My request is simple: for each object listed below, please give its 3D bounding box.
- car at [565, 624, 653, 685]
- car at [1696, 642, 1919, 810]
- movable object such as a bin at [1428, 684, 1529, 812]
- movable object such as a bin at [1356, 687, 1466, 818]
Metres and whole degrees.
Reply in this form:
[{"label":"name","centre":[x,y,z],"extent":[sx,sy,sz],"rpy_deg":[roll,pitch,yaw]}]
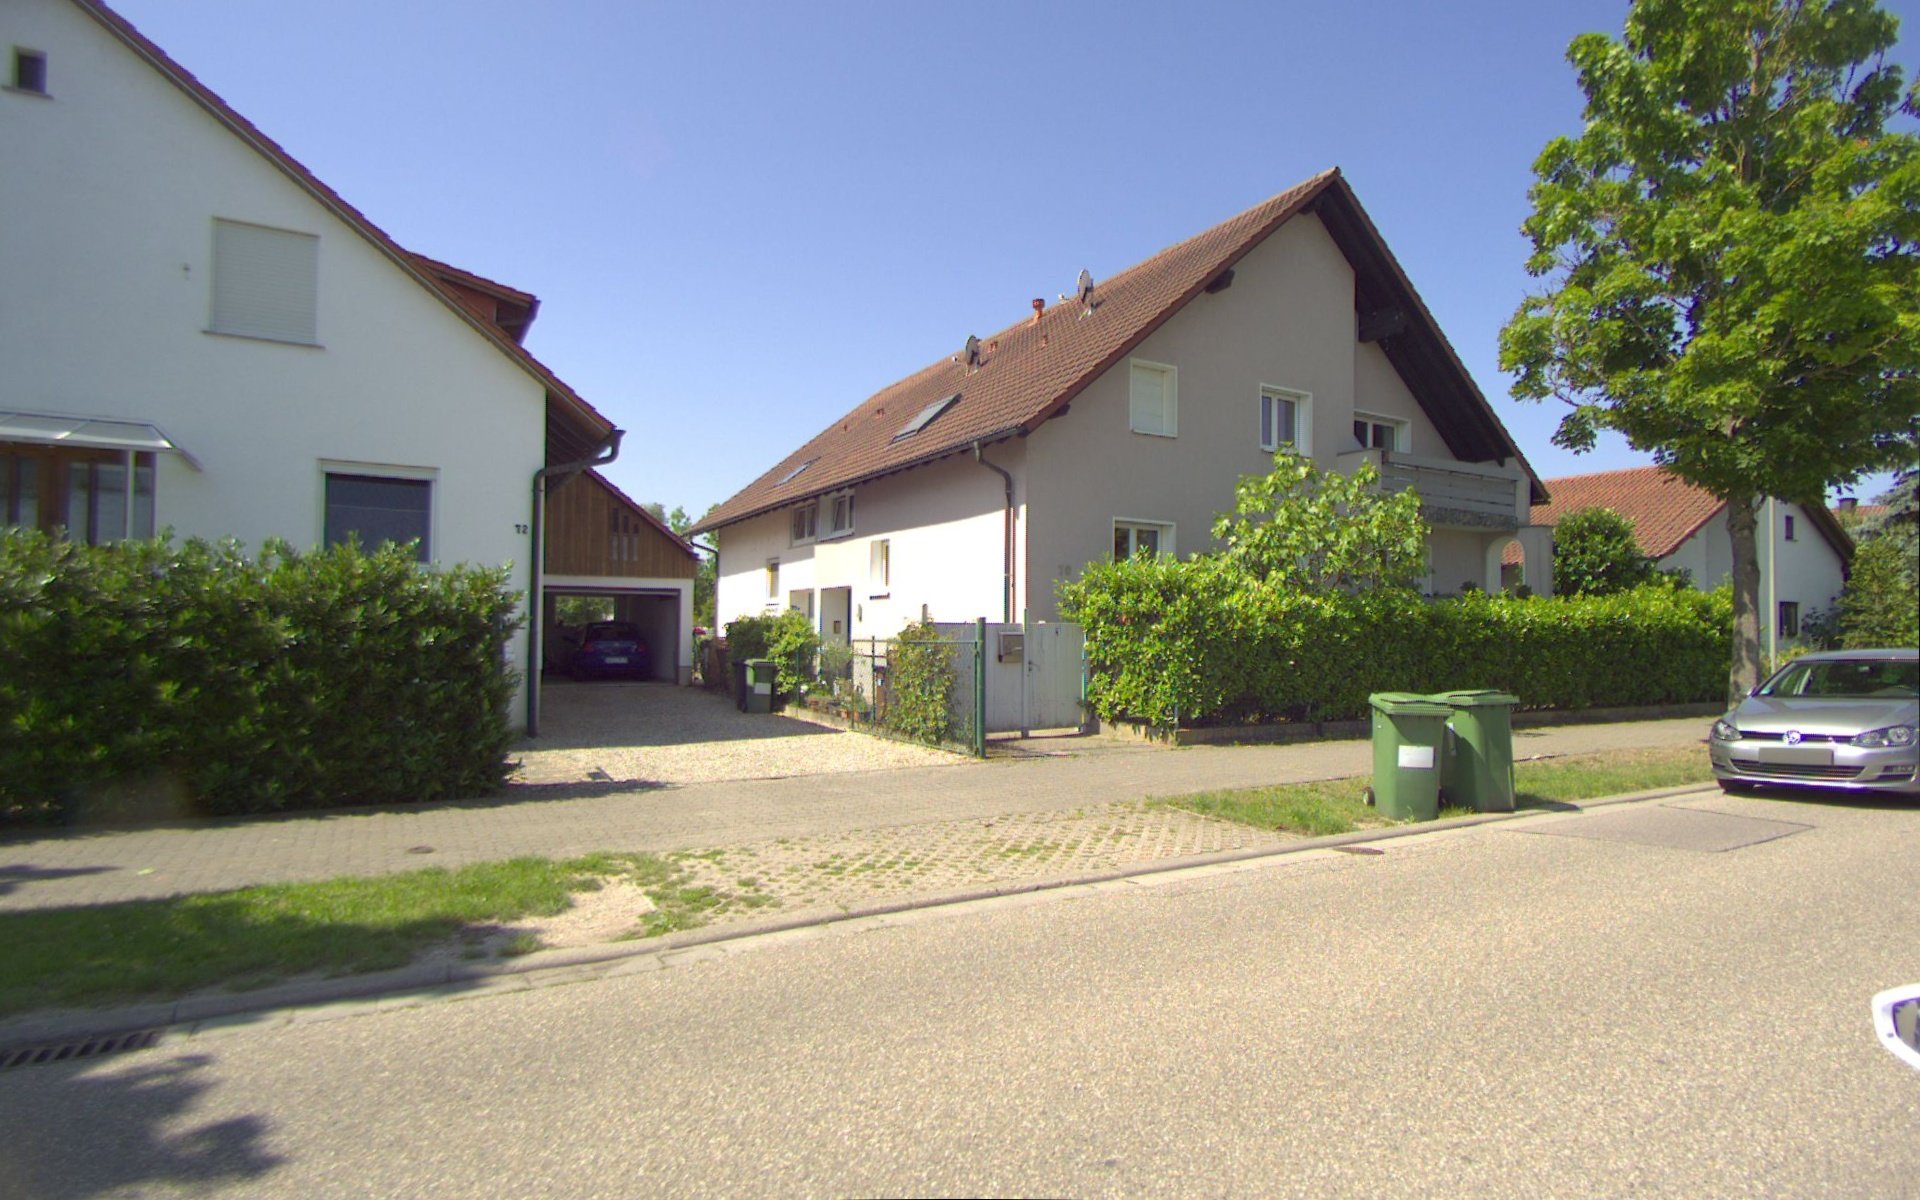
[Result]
[{"label":"car","centre":[-8.662,1.295,24.654],"extent":[1.517,1.342,3.041],"rpy_deg":[1,-1,-29]},{"label":"car","centre":[9.529,1.189,10.444],"extent":[4.035,1.442,1.638],"rpy_deg":[2,-5,-32]},{"label":"movable object such as a bin","centre":[4.736,1.329,9.189],"extent":[0.589,1.093,0.575],"rpy_deg":[1,-2,-17]},{"label":"movable object such as a bin","centre":[4.025,1.342,9.003],"extent":[0.627,1.093,0.715],"rpy_deg":[1,-2,-5]}]
